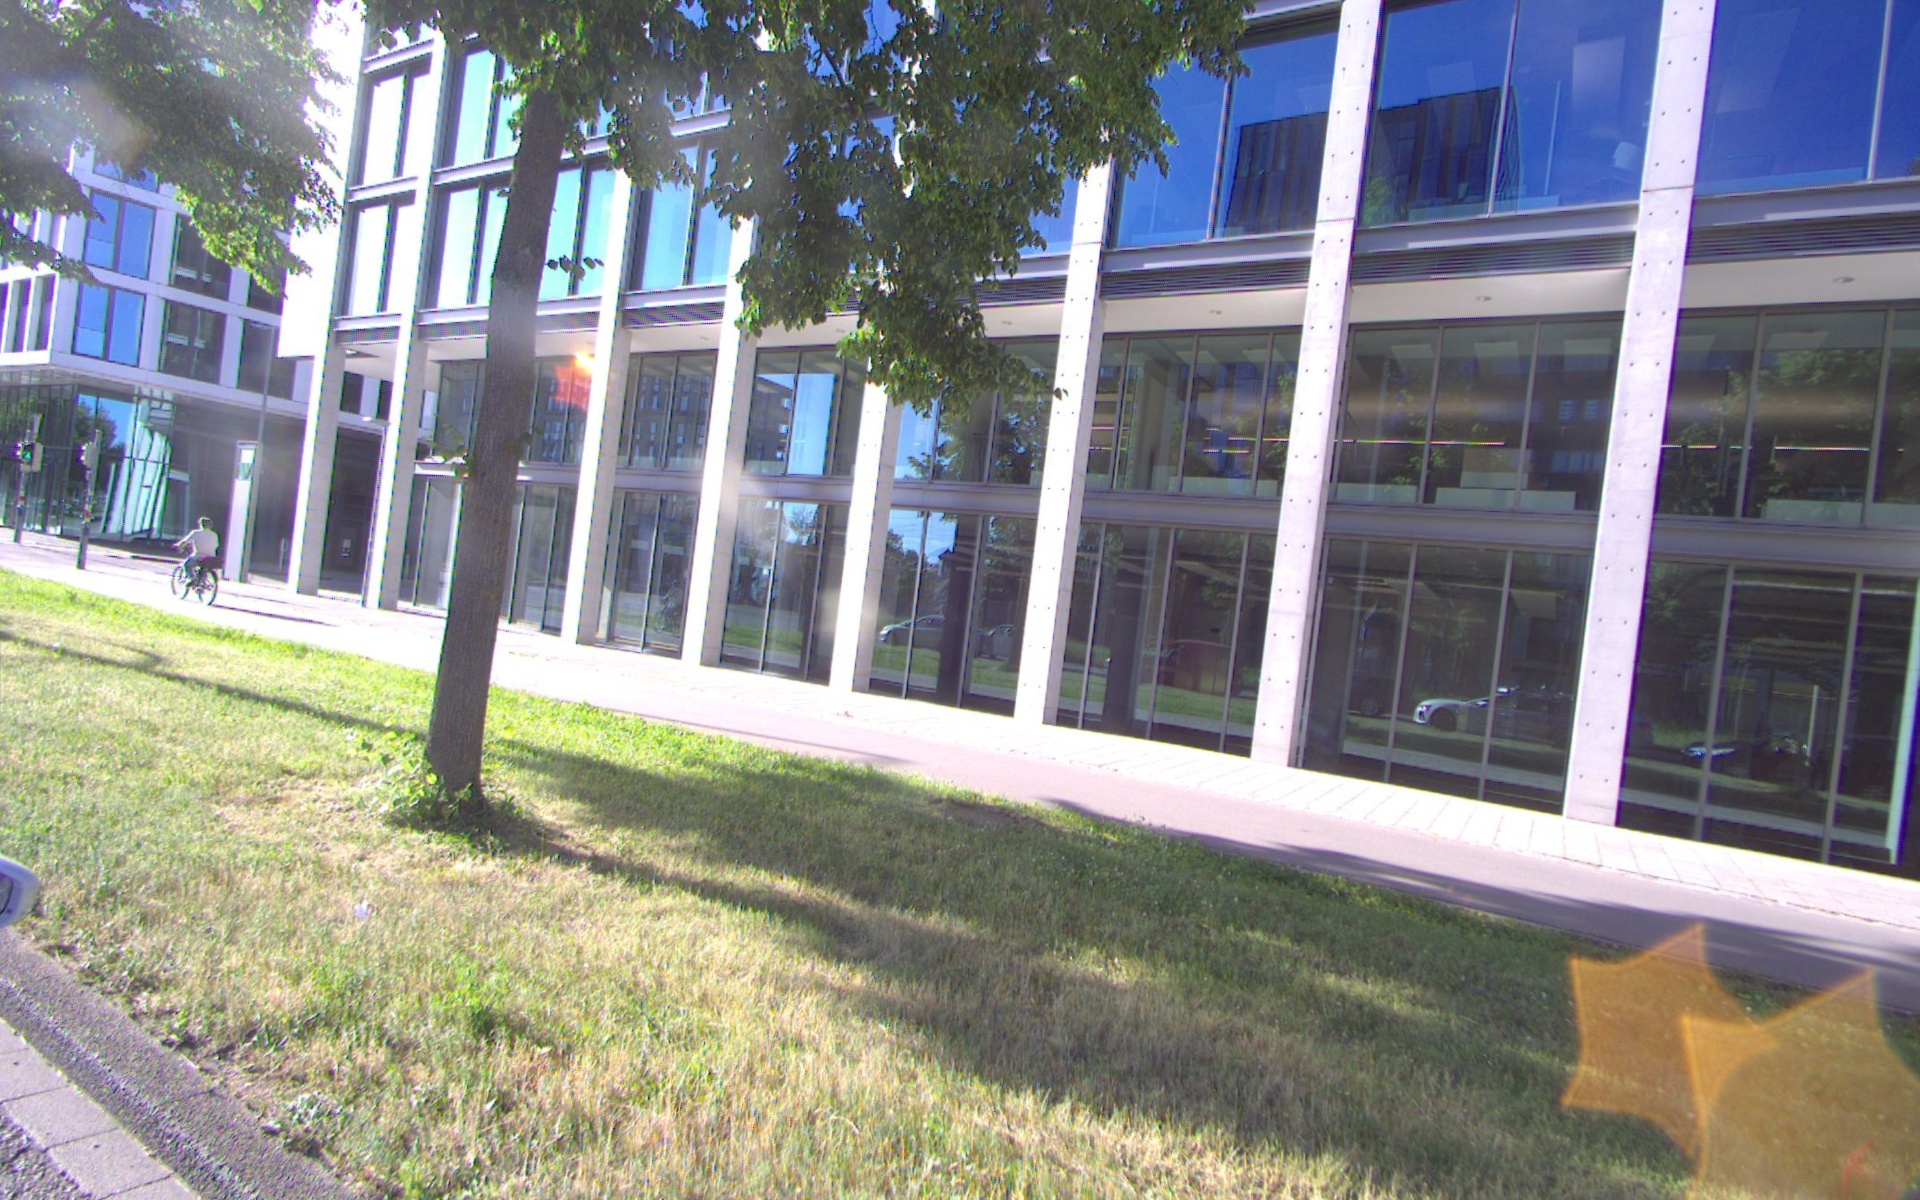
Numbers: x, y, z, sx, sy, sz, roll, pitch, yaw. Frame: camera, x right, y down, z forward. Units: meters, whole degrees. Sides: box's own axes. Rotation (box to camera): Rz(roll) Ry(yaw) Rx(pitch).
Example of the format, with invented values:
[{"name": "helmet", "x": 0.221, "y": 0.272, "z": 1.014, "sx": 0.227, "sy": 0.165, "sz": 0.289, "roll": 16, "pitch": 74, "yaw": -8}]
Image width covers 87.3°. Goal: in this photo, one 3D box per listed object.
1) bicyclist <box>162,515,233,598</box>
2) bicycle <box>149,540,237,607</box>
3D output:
[{"name": "bicyclist", "x": -15.575, "y": -0.876, "z": 20.553, "sx": 0.835, "sy": 1.550, "sz": 0.772, "roll": 7, "pitch": 0, "yaw": 31}, {"name": "bicycle", "x": -15.730, "y": -0.551, "z": 20.624, "sx": 1.929, "sy": 1.189, "sz": 0.742, "roll": 6, "pitch": 1, "yaw": 32}]
